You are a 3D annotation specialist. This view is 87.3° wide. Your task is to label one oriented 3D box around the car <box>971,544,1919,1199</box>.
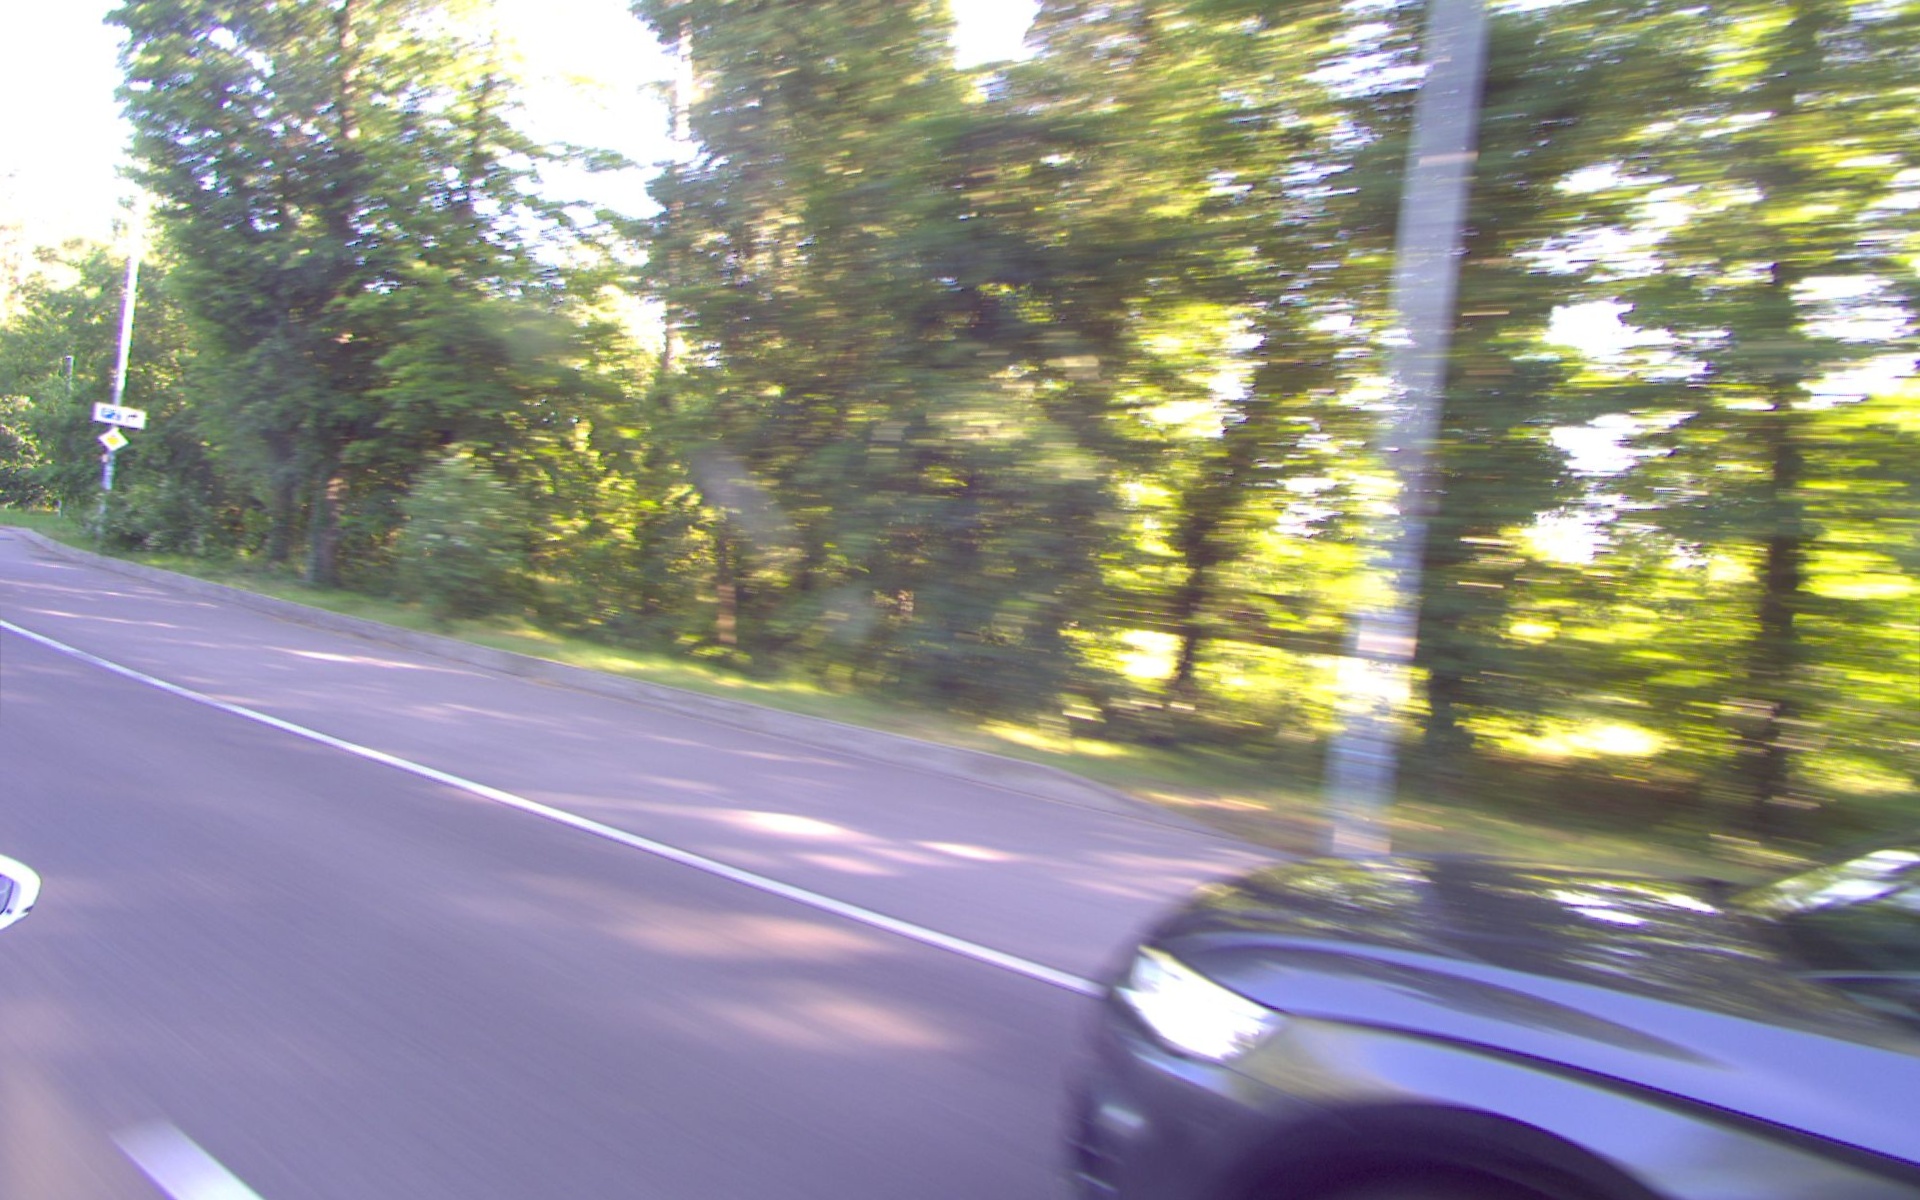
[{"bbox_3d":[2.447,1.029,1.541,4.467,1.624,1.897,7,-1,30],"label":"car"}]
